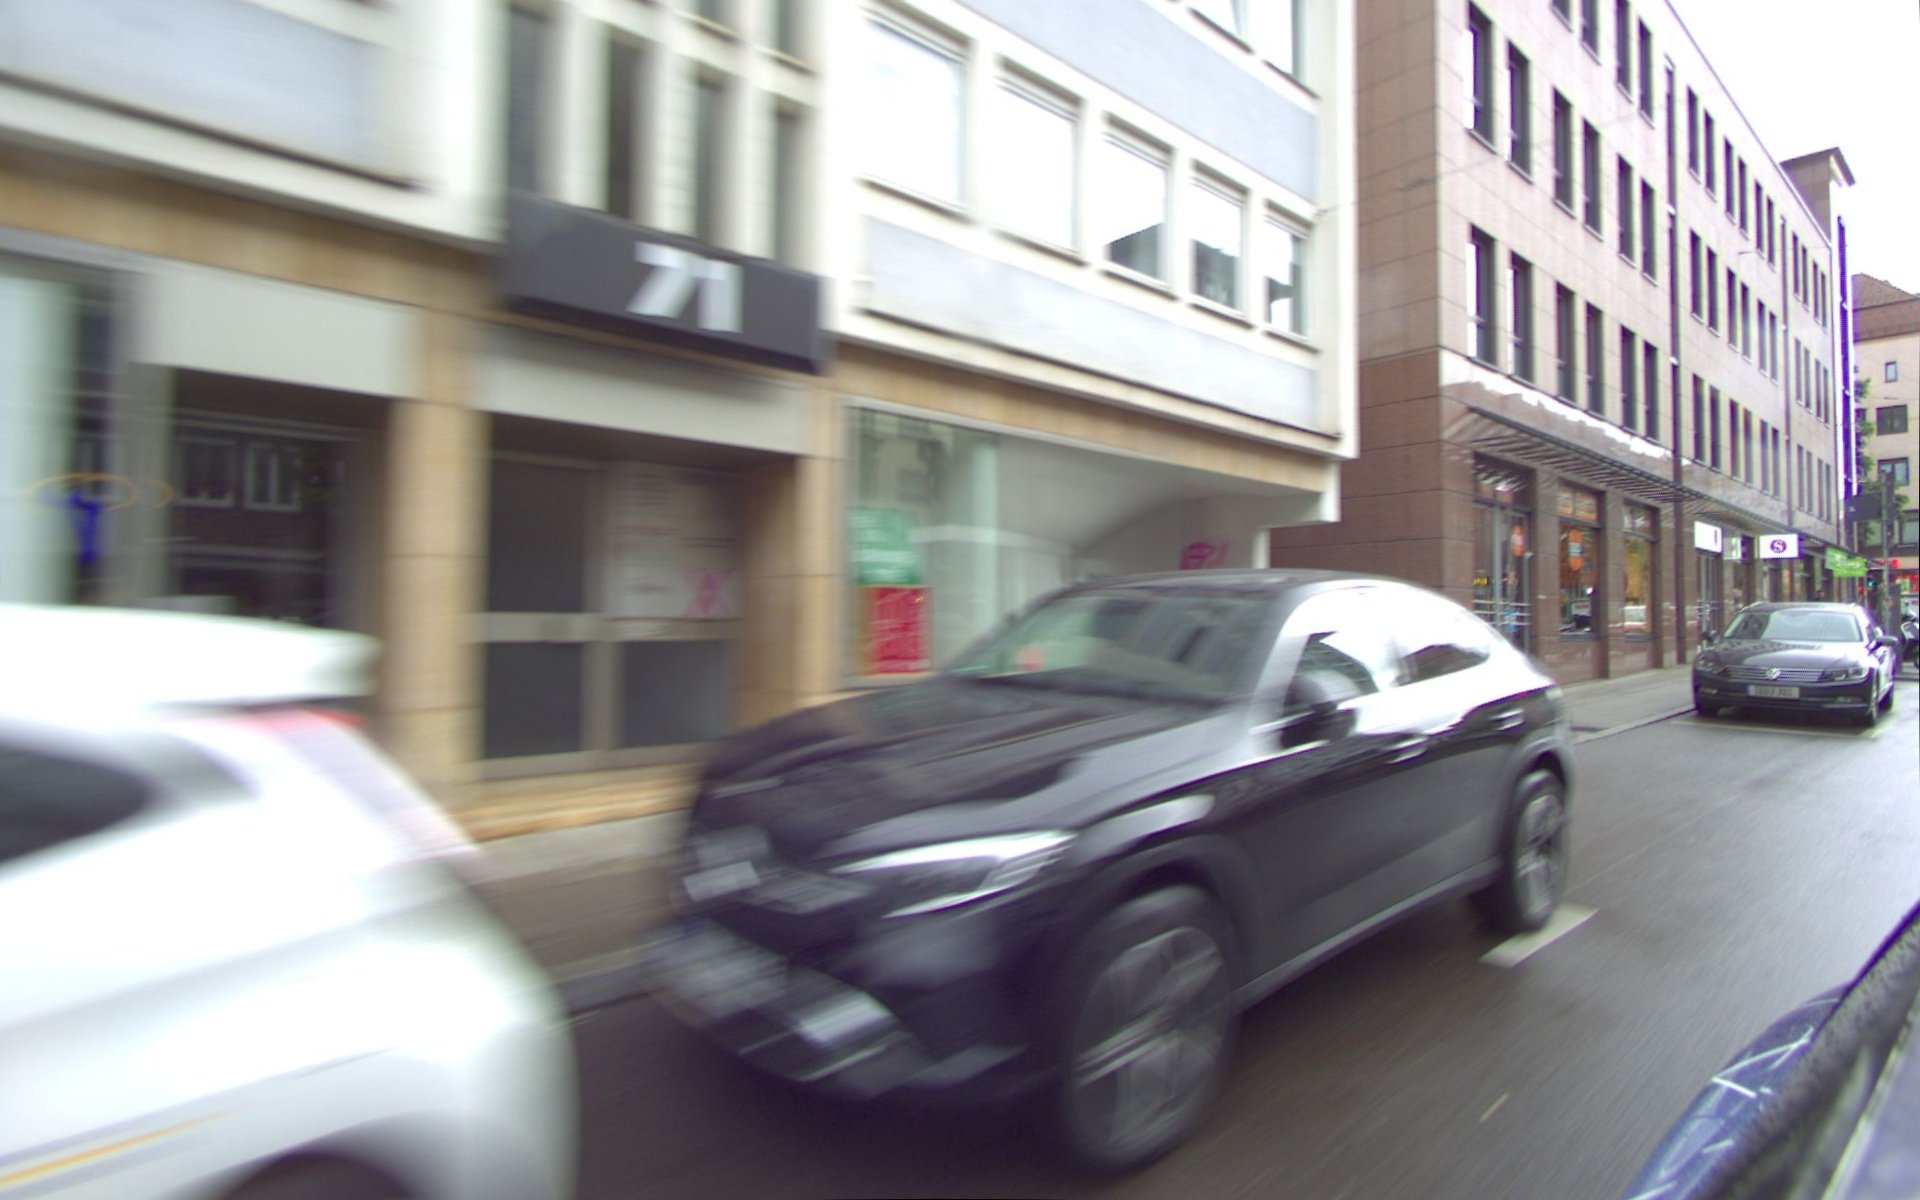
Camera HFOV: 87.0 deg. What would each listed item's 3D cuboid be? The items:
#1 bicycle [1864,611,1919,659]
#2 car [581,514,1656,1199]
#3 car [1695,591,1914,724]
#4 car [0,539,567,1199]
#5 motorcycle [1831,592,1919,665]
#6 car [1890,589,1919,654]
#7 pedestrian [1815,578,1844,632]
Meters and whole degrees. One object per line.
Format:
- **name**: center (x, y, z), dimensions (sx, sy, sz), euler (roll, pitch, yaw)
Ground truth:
- **bicycle**: center (21.347, 0.783, 22.529), dimensions (0.454, 1.043, 1.789), euler (-1, 0, -41)
- **car**: center (1.222, 0.633, 4.393), dimensions (5.080, 1.652, 1.810), euler (-1, 0, -42)
- **car**: center (11.512, 0.643, 13.672), dimensions (4.533, 1.487, 1.775), euler (-1, 0, -44)
- **car**: center (-2.514, 0.682, 1.222), dimensions (3.503, 1.495, 1.560), euler (-1, 0, -41)
- **motorcycle**: center (19.227, 0.565, 20.640), dimensions (0.782, 1.425, 2.095), euler (-1, 0, -23)
- **car**: center (24.665, 0.518, 25.301), dimensions (3.801, 1.480, 1.701), euler (-1, 2, -42)
- **pedestrian**: center (27.485, 0.166, 31.999), dimensions (0.615, 1.680, 0.602), euler (-1, 0, -41)
